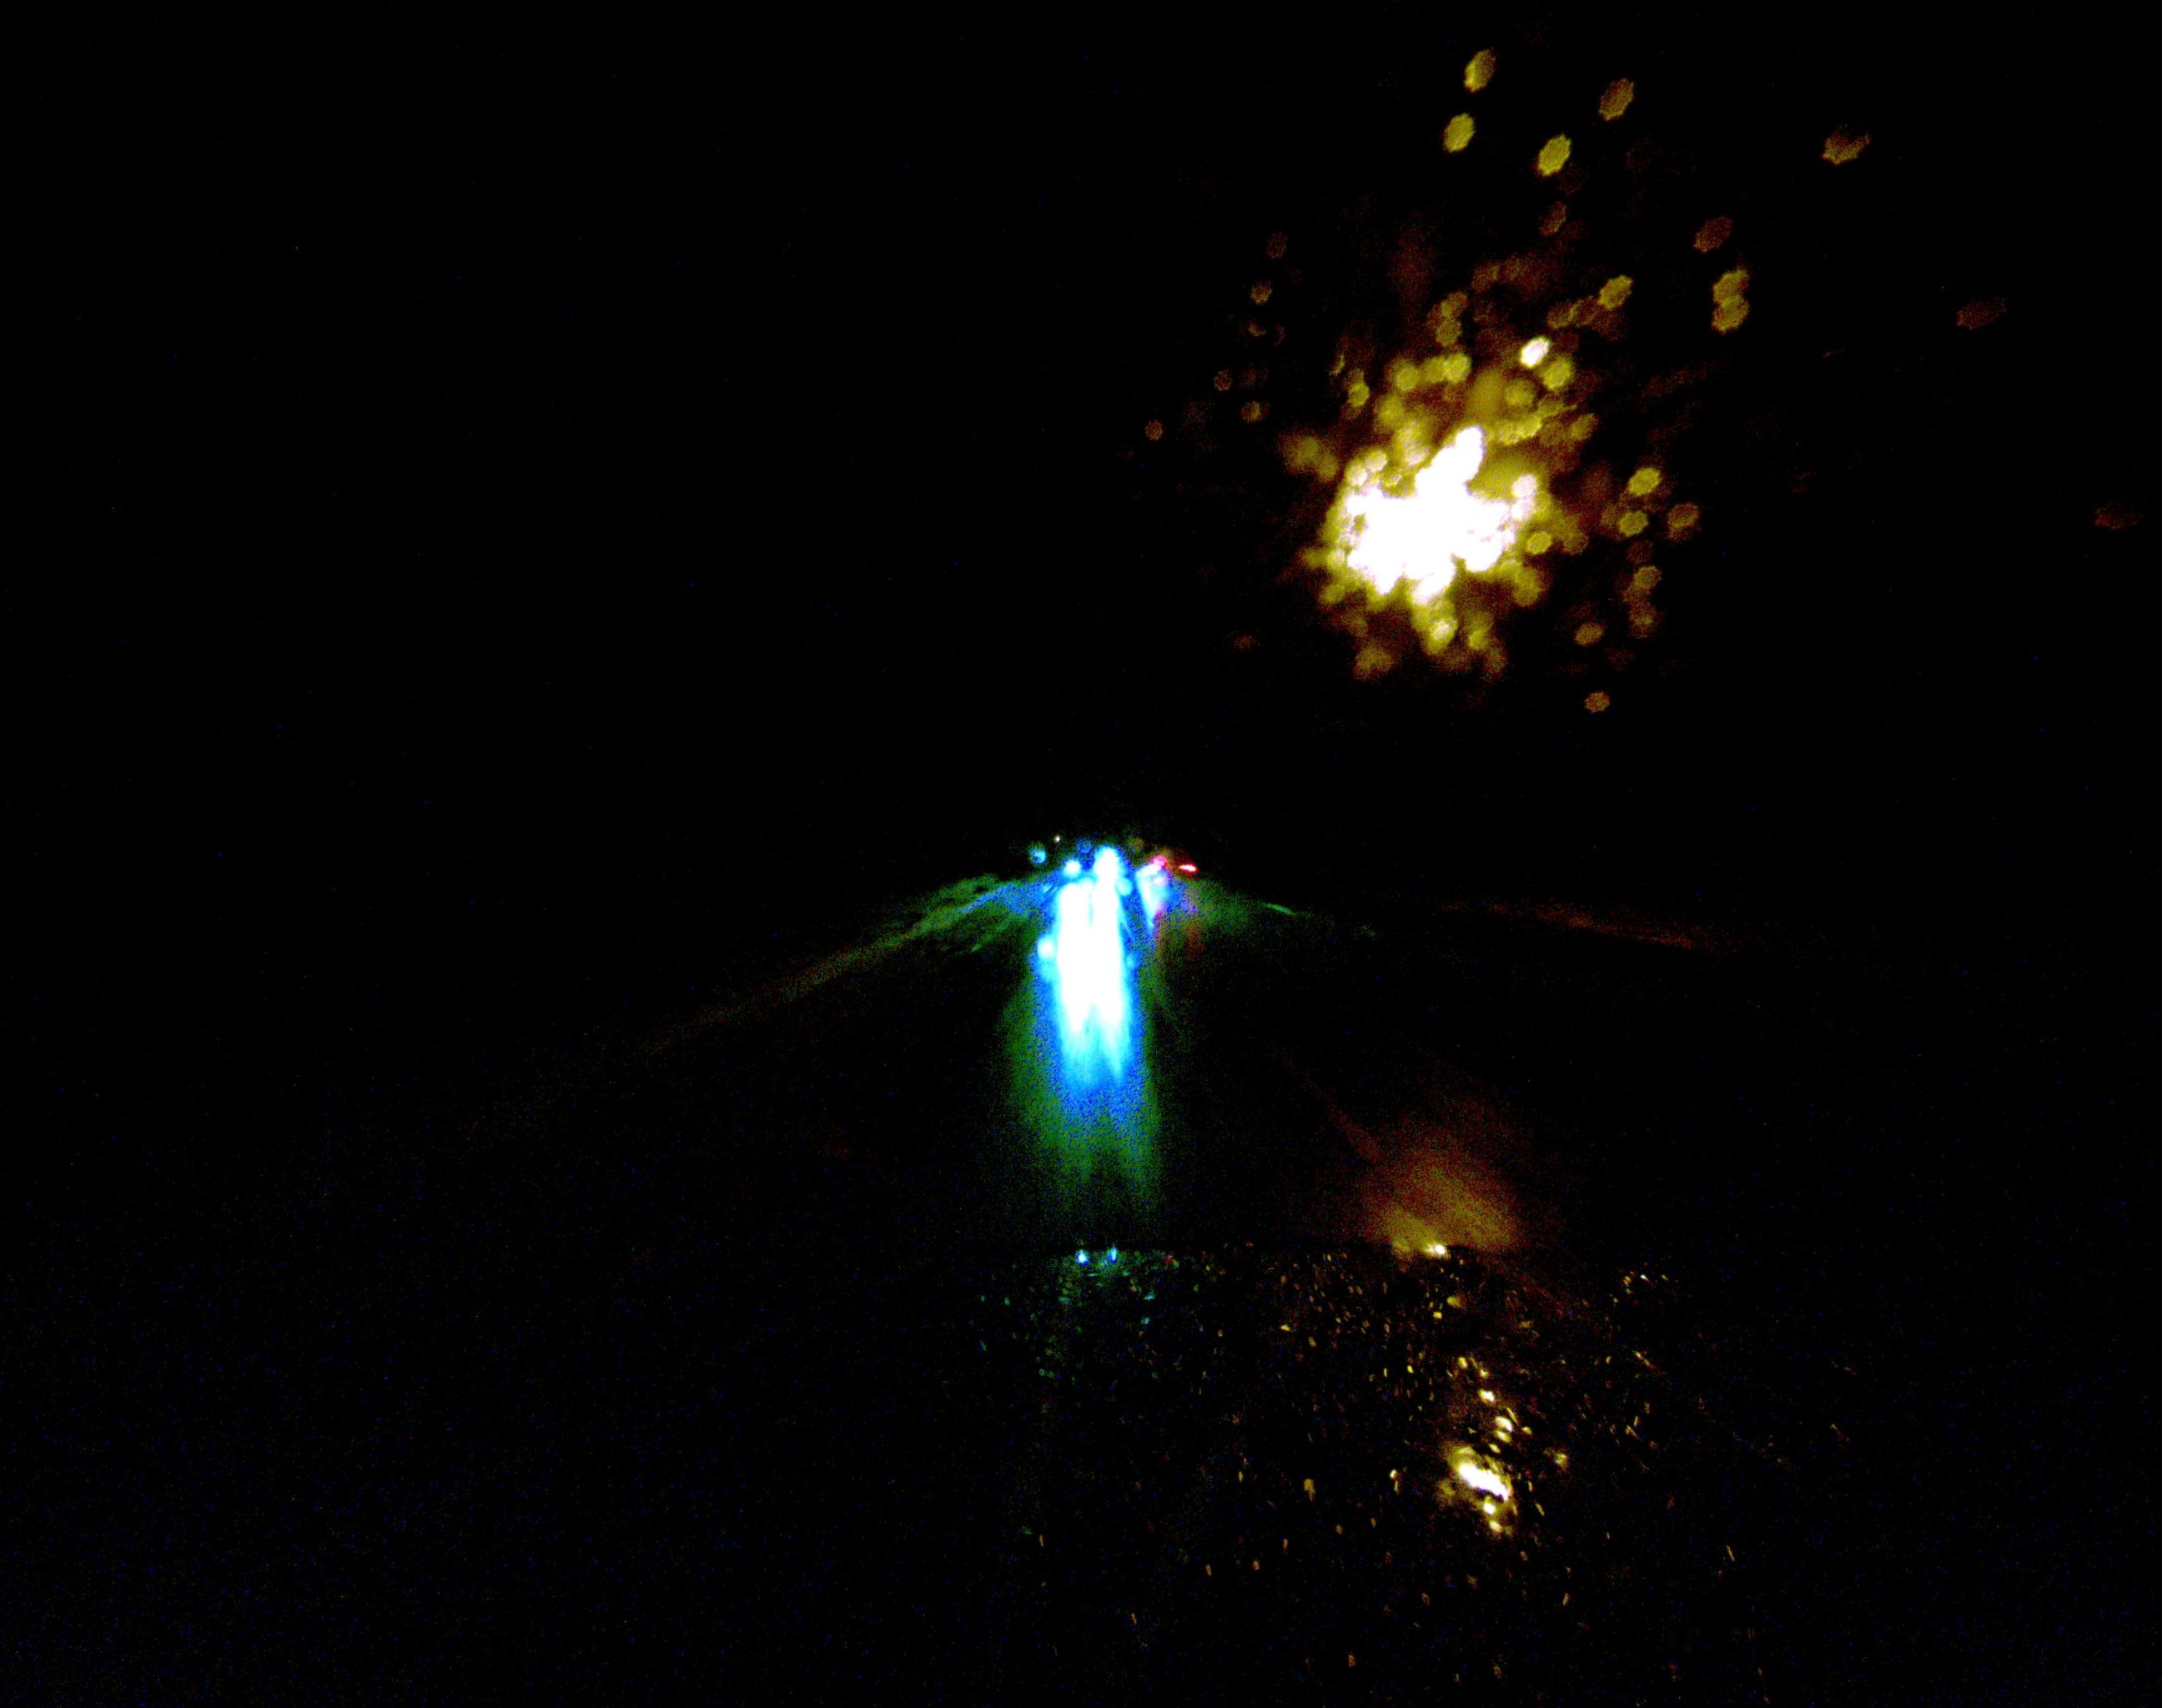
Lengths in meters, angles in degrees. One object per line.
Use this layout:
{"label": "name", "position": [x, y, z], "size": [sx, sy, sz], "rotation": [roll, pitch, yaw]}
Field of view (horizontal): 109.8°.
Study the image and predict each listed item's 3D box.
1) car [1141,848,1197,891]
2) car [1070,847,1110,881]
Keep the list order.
{"label": "car", "position": [3.399, 0.553, 29.947], "size": [1.806, 1.484, 3.866], "rotation": [-2, 2, 1]}
{"label": "car", "position": [0.414, 0.585, 41.074], "size": [1.944, 1.580, 4.776], "rotation": [-3, -2, -1]}
